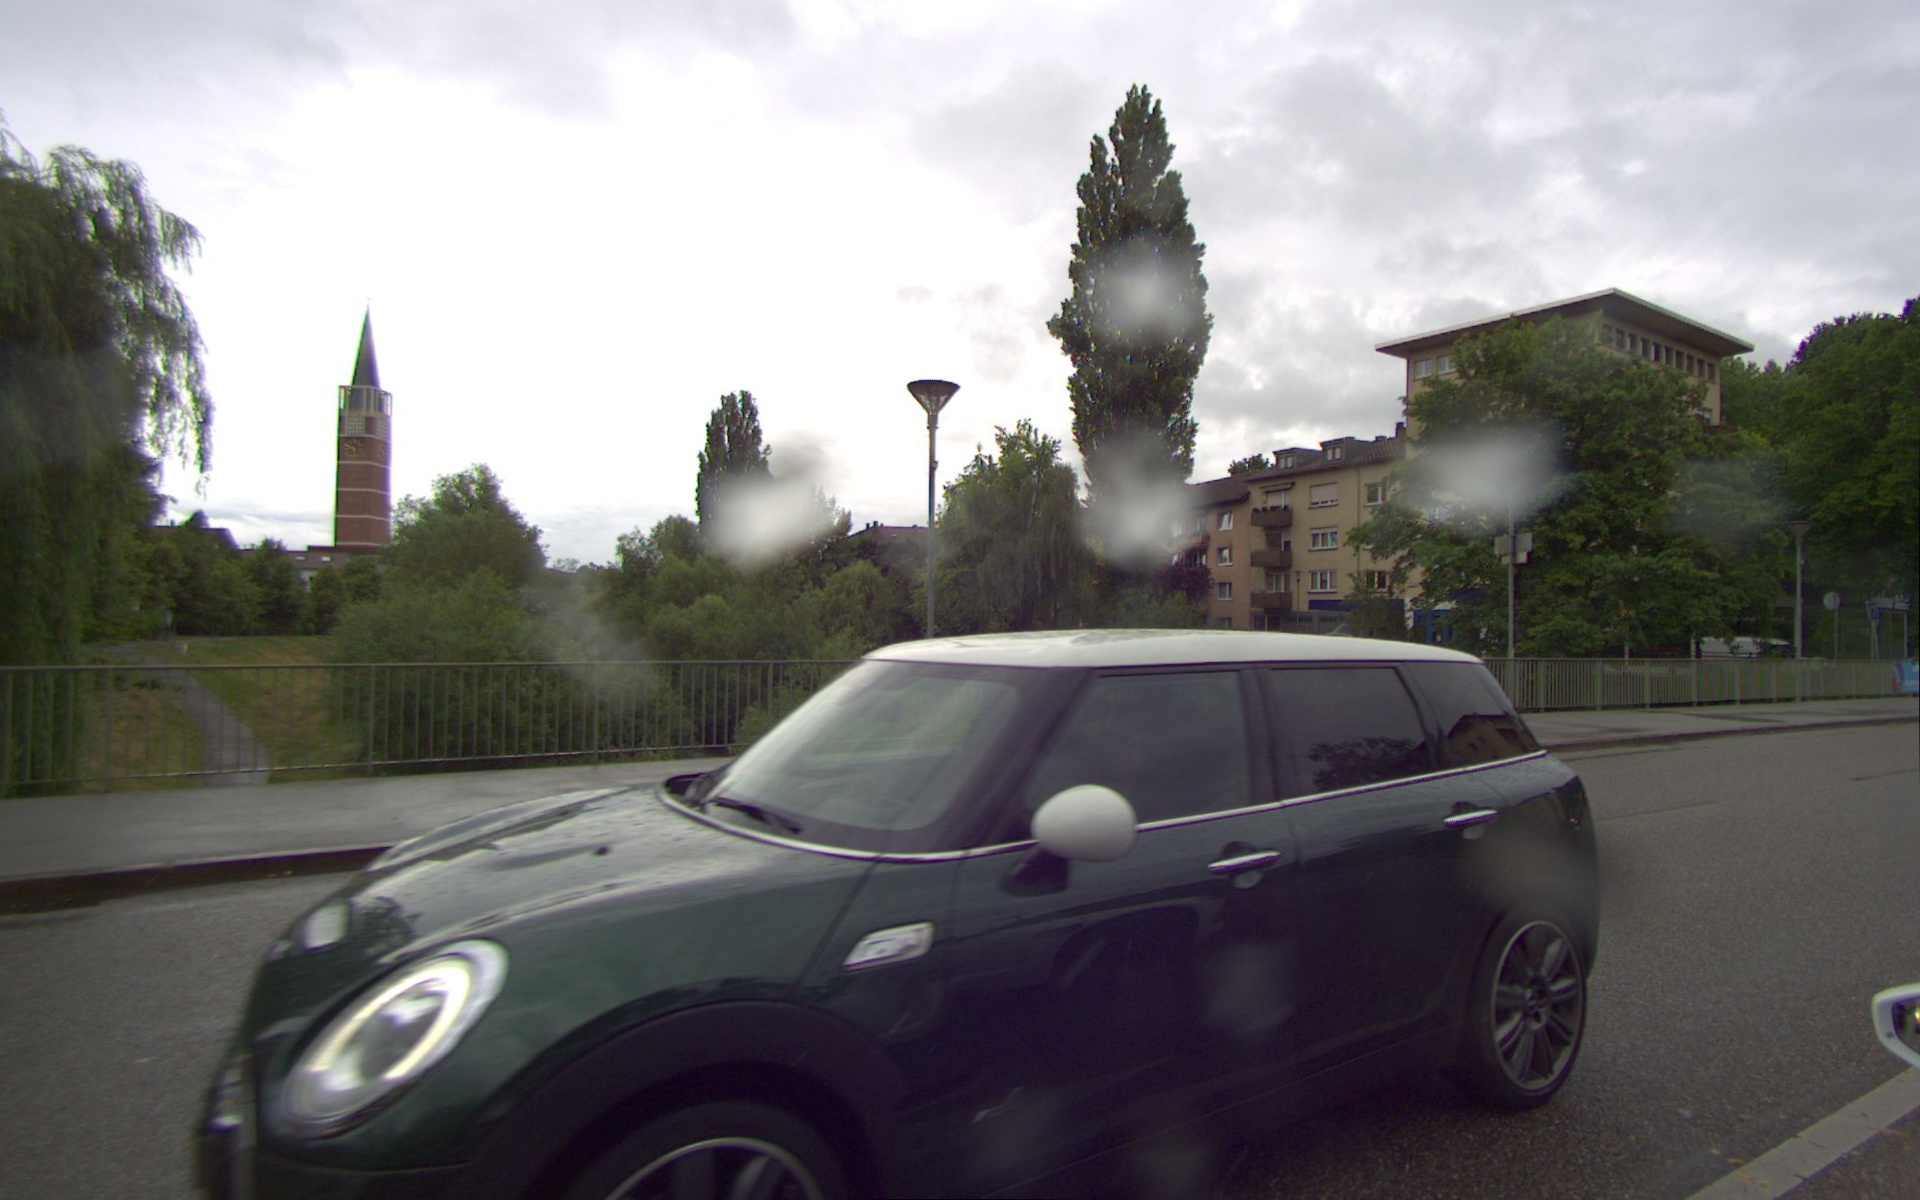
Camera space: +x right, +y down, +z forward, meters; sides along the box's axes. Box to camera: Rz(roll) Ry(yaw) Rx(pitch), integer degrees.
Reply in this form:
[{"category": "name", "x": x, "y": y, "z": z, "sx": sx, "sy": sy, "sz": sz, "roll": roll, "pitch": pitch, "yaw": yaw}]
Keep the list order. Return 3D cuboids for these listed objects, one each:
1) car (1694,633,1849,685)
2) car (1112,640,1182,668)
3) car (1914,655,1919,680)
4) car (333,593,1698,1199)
[{"category": "car", "x": 33.553, "y": 2.395, "z": 41.654, "sx": 1.982, "sy": 1.879, "sz": 4.705, "roll": 0, "pitch": 0, "yaw": -38}, {"category": "car", "x": 13.113, "y": 3.760, "z": 70.607, "sx": 1.982, "sy": 1.676, "sz": 4.705, "roll": 0, "pitch": 0, "yaw": -38}, {"category": "car", "x": 56.053, "y": 3.801, "z": 55.812, "sx": 1.695, "sy": 1.434, "sz": 4.062, "roll": 2, "pitch": -3, "yaw": -30}, {"category": "car", "x": 0.388, "y": 0.792, "z": 3.187, "sx": 3.953, "sy": 1.458, "sz": 1.737, "roll": 2, "pitch": -2, "yaw": -30}]
